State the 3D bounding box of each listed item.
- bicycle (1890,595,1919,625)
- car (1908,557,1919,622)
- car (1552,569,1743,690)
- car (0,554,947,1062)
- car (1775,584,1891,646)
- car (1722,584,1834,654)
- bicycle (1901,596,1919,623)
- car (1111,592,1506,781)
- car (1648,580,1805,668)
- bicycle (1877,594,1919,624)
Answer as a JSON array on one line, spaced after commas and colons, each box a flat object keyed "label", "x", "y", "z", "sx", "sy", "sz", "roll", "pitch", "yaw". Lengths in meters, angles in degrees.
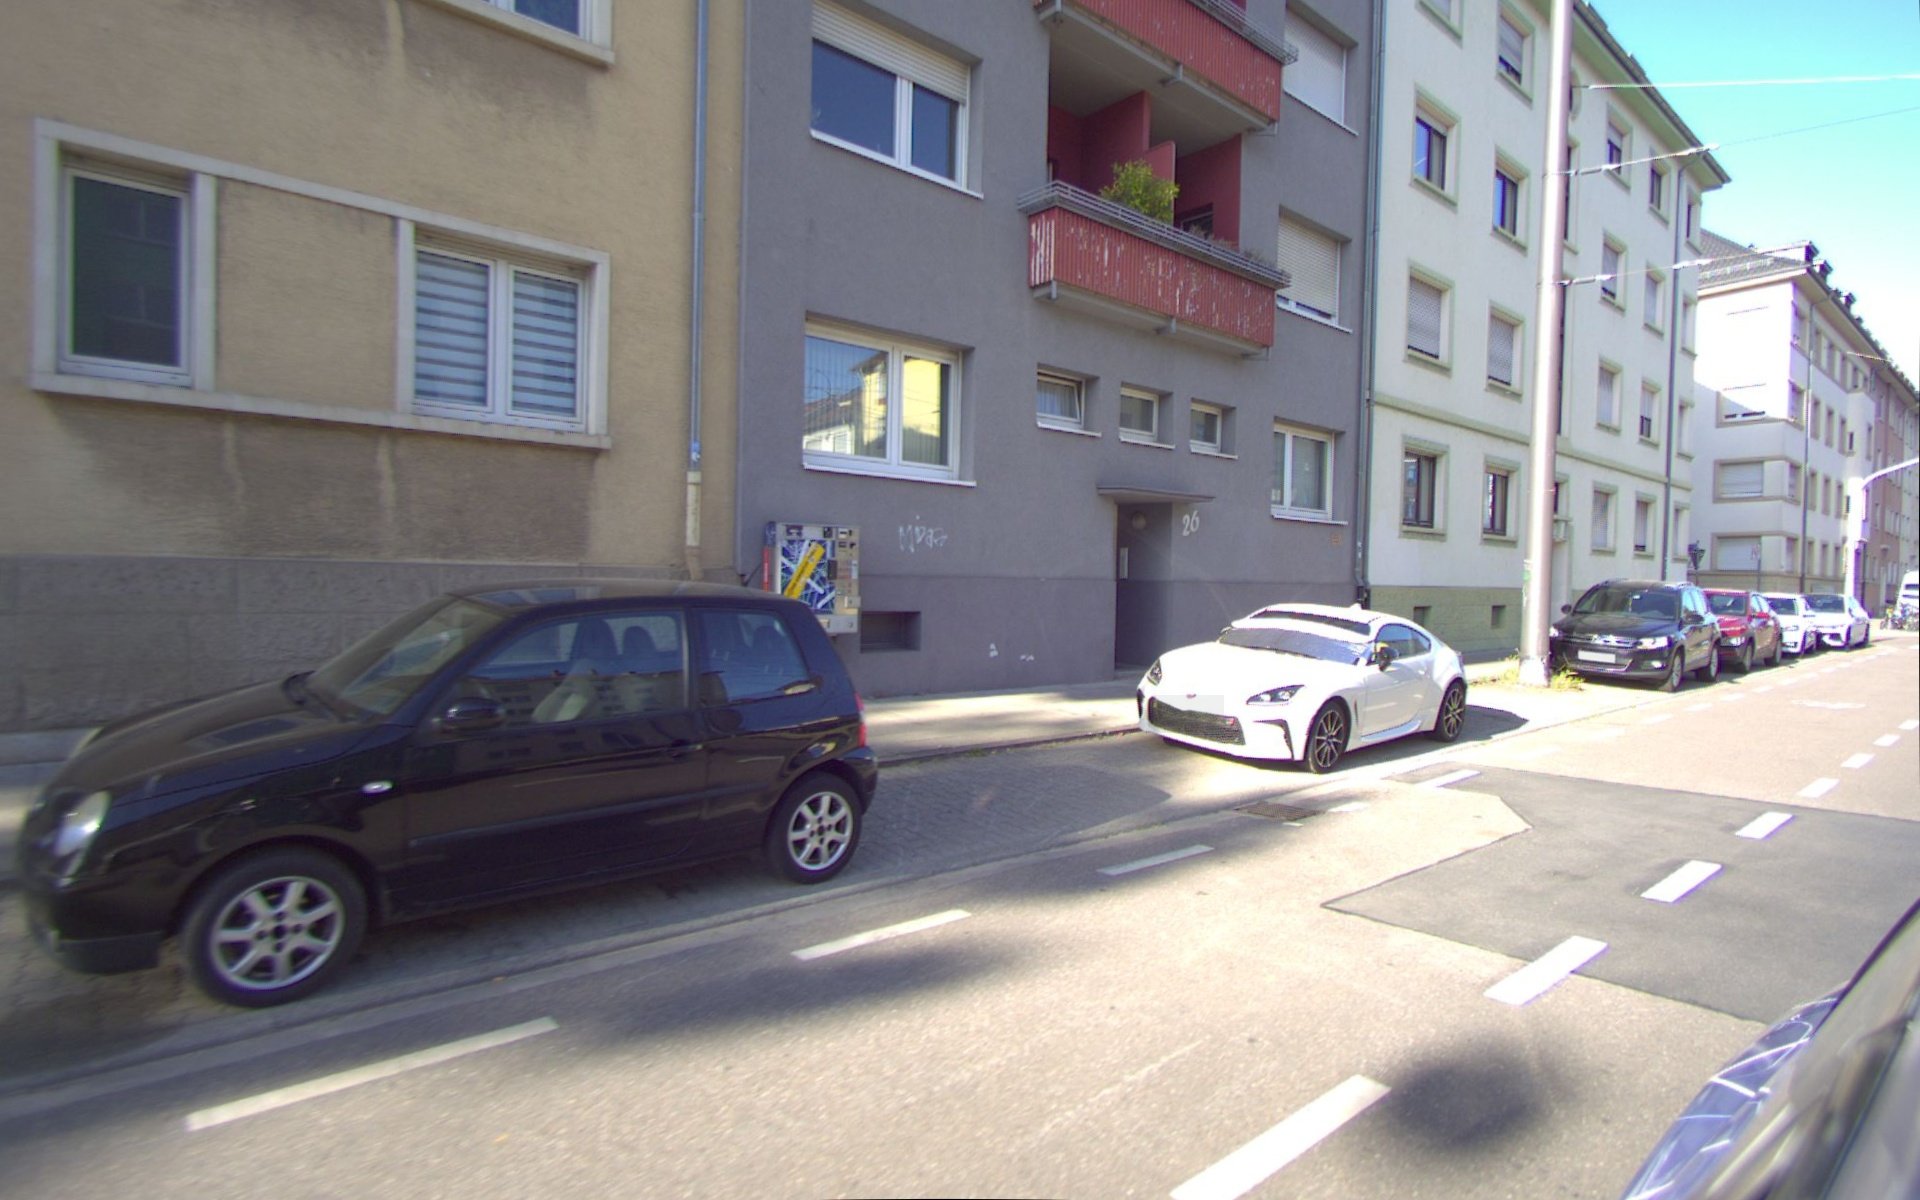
[{"label": "bicycle", "x": 38.636, "y": 0.406, "z": 40.859, "sx": 0.465, "sy": 1.100, "sz": 1.918, "roll": -2, "pitch": 3, "yaw": 2}, {"label": "car", "x": 43.353, "y": -0.394, "z": 44.173, "sx": 6.183, "sy": 2.729, "sz": 2.155, "roll": 0, "pitch": 4, "yaw": -41}, {"label": "car", "x": 11.388, "y": 0.393, "z": 16.649, "sx": 4.301, "sy": 1.667, "sz": 1.638, "roll": 0, "pitch": 4, "yaw": -43}, {"label": "car", "x": -2.029, "y": 0.590, "z": 4.850, "sx": 3.723, "sy": 1.471, "sz": 1.639, "roll": 0, "pitch": 4, "yaw": -41}, {"label": "car", "x": 23.424, "y": 0.356, "z": 27.109, "sx": 4.302, "sy": 1.476, "sz": 1.698, "roll": 0, "pitch": 3, "yaw": -41}, {"label": "car", "x": 19.530, "y": 0.396, "z": 24.109, "sx": 4.015, "sy": 1.476, "sz": 1.637, "roll": 0, "pitch": 3, "yaw": -45}, {"label": "bicycle", "x": 39.459, "y": 0.367, "z": 41.249, "sx": 0.478, "sy": 1.101, "sz": 2.024, "roll": -1, "pitch": 0, "yaw": 6}, {"label": "car", "x": 3.503, "y": 0.645, "z": 9.753, "sx": 4.229, "sy": 1.290, "sz": 1.706, "roll": -1, "pitch": 6, "yaw": -42}, {"label": "car", "x": 15.365, "y": 0.416, "z": 20.212, "sx": 4.115, "sy": 1.536, "sz": 1.639, "roll": 0, "pitch": 2, "yaw": -41}, {"label": "bicycle", "x": 37.703, "y": 0.372, "z": 40.344, "sx": 0.465, "sy": 1.100, "sz": 1.918, "roll": 4, "pitch": 3, "yaw": 2}]
